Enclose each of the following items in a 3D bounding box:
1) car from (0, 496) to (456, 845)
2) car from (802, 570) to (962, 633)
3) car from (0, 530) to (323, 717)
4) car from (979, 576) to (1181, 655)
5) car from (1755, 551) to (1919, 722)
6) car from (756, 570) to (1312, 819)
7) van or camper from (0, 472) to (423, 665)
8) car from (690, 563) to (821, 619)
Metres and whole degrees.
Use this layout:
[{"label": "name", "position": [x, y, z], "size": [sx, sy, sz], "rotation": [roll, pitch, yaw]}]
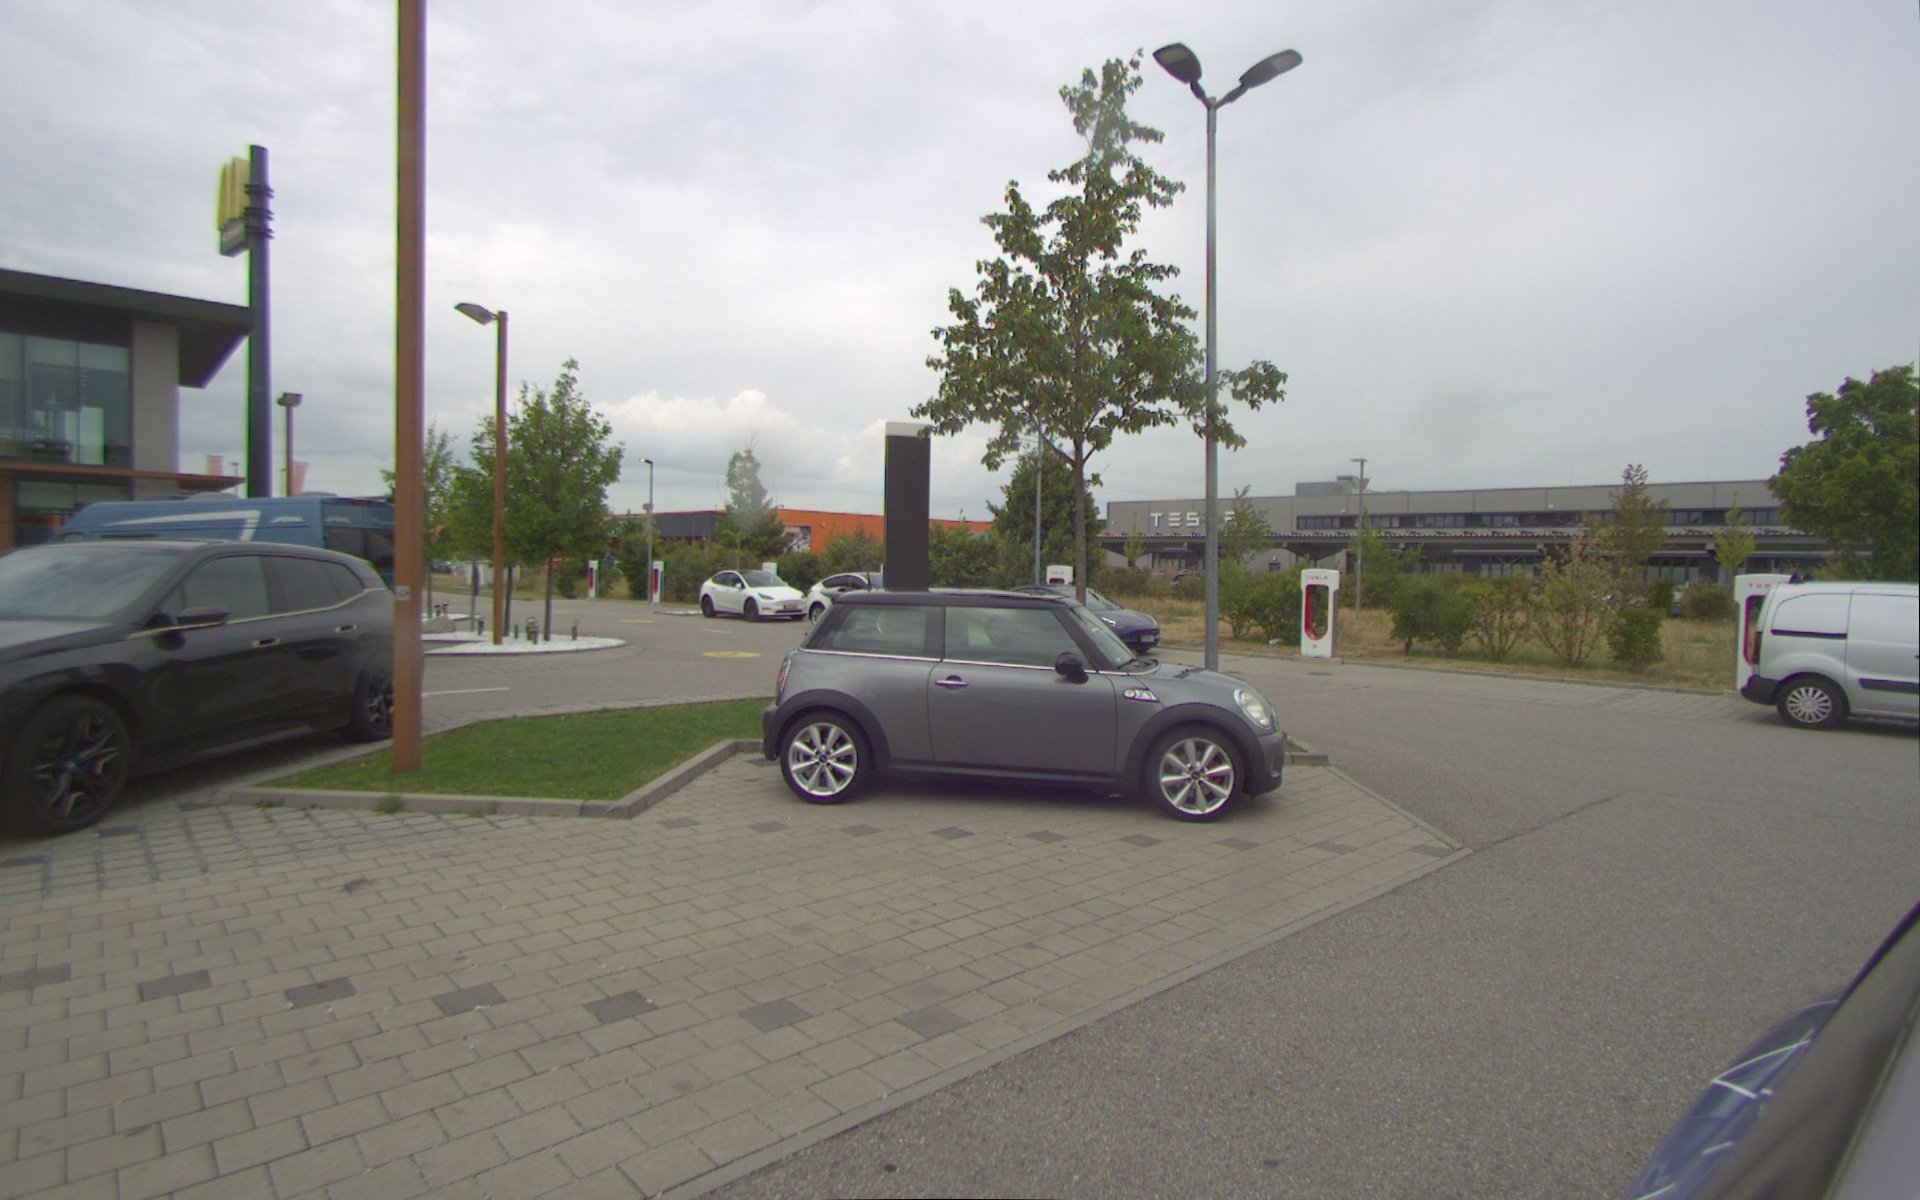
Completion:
[{"label": "car", "position": [-5.810, 0.349, 7.181], "size": [1.962, 1.749, 4.897], "rotation": [-2, 1, 0]}, {"label": "car", "position": [-2.224, -0.026, 27.886], "size": [2.039, 1.572, 4.468], "rotation": [-1, 2, -44]}, {"label": "car", "position": [-9.064, 0.184, 10.224], "size": [1.805, 1.711, 4.125], "rotation": [3, 1, 43]}, {"label": "car", "position": [2.551, 0.255, 22.530], "size": [1.802, 1.477, 4.452], "rotation": [-1, 3, -40]}, {"label": "car", "position": [12.002, 0.456, 11.551], "size": [1.913, 1.911, 4.329], "rotation": [1, 1, -43]}, {"label": "car", "position": [0.496, 0.560, 7.207], "size": [3.468, 1.393, 1.606], "rotation": [2, 1, 8]}, {"label": "van or camper", "position": [-12.065, -0.449, 15.766], "size": [6.459, 2.735, 2.169], "rotation": [0, 0, 7]}, {"label": "car", "position": [-6.798, -0.341, 33.262], "size": [2.037, 1.621, 4.938], "rotation": [-1, 3, -41]}]
